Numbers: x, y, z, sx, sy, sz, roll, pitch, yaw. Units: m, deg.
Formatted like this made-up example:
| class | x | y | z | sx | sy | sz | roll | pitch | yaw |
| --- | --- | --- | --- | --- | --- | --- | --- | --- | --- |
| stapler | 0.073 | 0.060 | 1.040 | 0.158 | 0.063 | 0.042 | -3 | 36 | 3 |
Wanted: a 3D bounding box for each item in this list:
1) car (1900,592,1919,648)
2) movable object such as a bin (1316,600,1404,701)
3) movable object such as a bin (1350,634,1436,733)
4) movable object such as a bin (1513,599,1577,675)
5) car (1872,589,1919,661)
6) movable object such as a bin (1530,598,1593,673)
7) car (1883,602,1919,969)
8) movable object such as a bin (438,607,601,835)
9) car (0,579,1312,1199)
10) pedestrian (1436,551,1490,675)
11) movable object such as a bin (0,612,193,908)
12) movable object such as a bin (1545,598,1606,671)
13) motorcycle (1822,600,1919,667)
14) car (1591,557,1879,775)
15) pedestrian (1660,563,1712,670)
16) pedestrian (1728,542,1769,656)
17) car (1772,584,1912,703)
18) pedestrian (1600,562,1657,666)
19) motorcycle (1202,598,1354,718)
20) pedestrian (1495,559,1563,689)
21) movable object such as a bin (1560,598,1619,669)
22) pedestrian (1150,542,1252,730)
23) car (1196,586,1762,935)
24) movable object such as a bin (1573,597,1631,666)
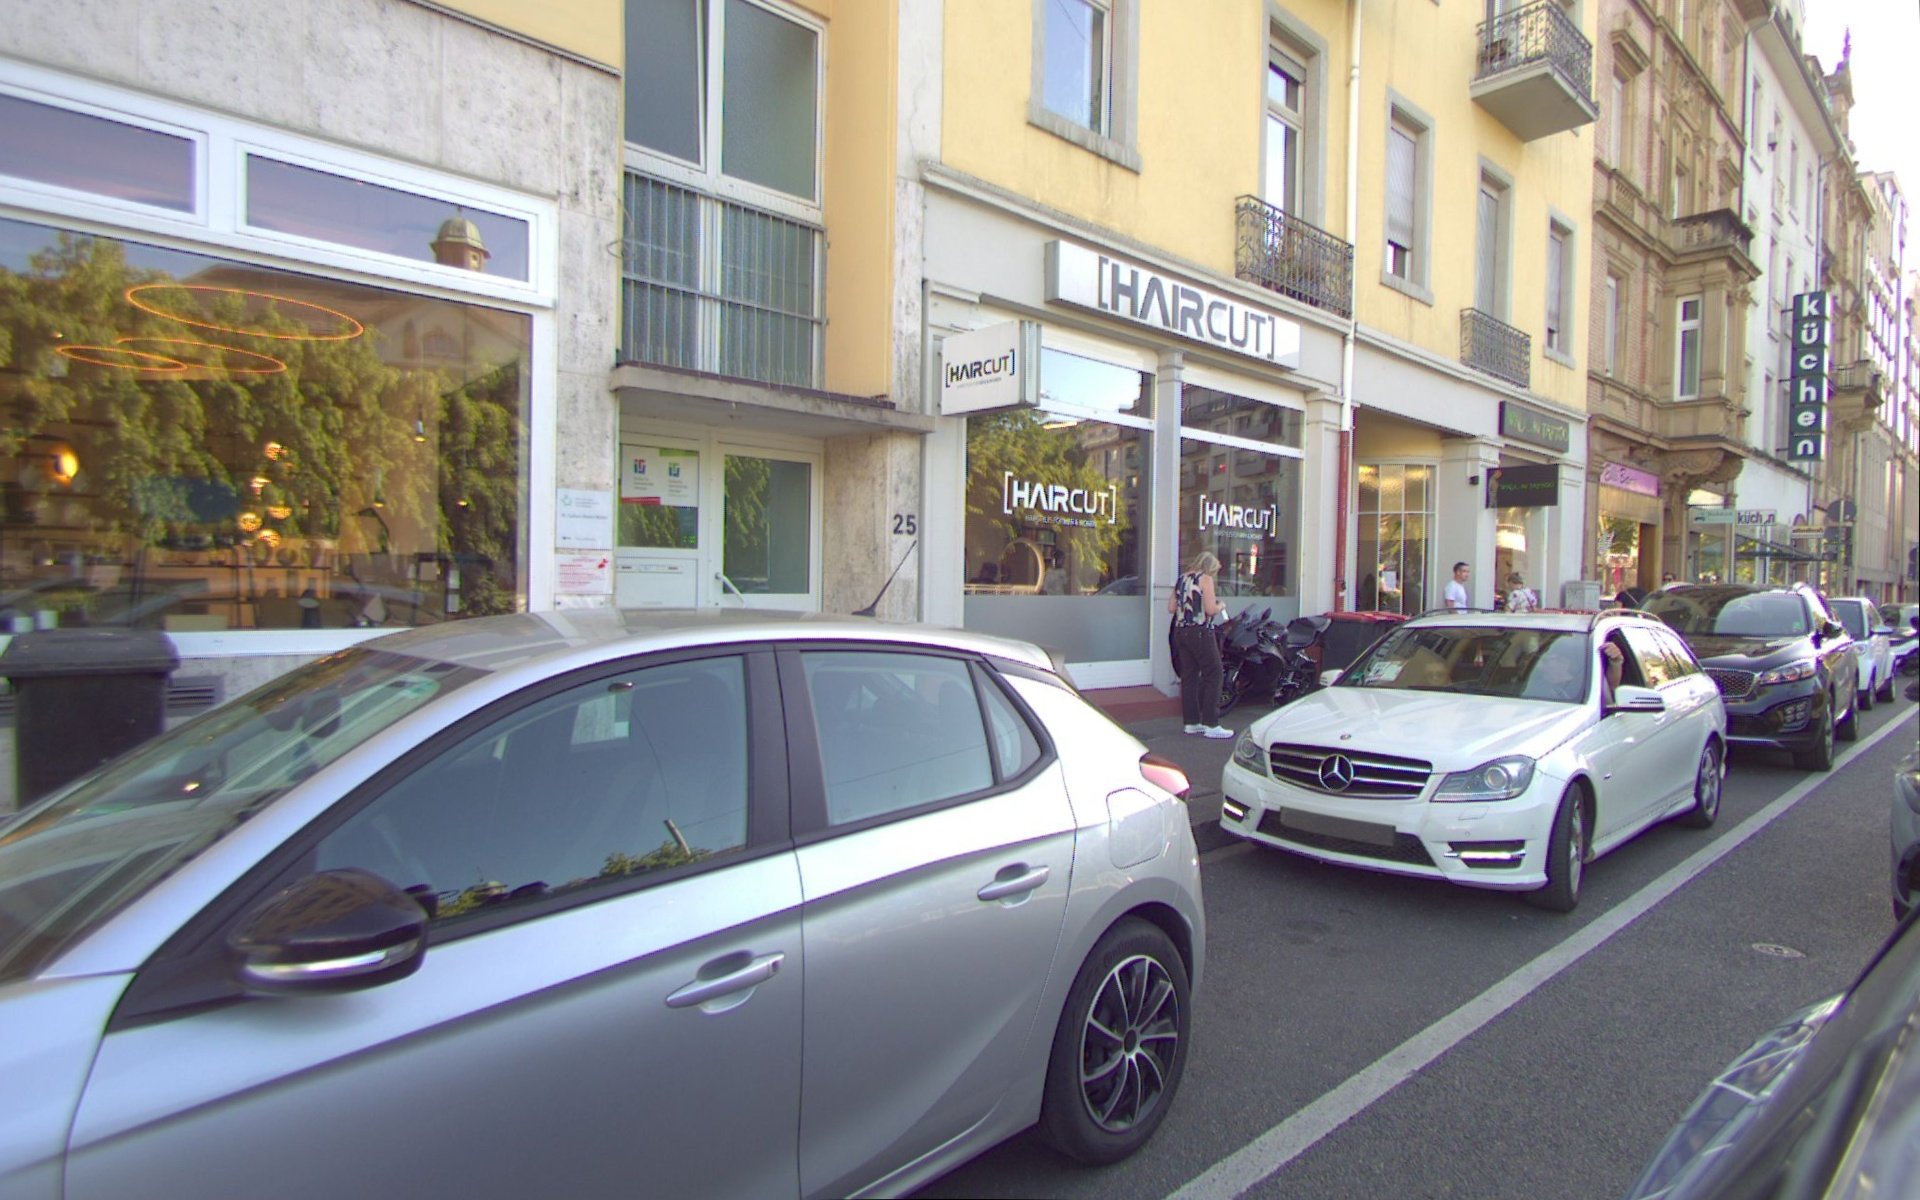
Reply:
| class | x | y | z | sx | sy | sz | roll | pitch | yaw |
| --- | --- | --- | --- | --- | --- | --- | --- | --- | --- |
| car | 26.417 | 0.526 | 26.902 | 3.736 | 1.435 | 1.736 | 0 | 1 | -41 |
| movable object such as a bin | 4.536 | 0.557 | 11.484 | 0.608 | 1.054 | 0.661 | 1 | 3 | -38 |
| movable object such as a bin | 5.062 | 0.960 | 11.842 | 0.608 | 1.037 | 0.669 | 1 | 3 | -38 |
| movable object such as a bin | 8.790 | 0.540 | 15.212 | 0.608 | 1.079 | 0.606 | 0 | 4 | -41 |
| car | 22.032 | 0.534 | 22.934 | 4.096 | 1.537 | 1.734 | 0 | 1 | -44 |
| movable object such as a bin | 9.279 | 0.534 | 15.618 | 0.608 | 1.079 | 0.606 | 0 | 4 | -41 |
| car | 6.004 | 0.757 | 4.879 | 4.297 | 1.467 | 1.846 | 0 | 1 | -41 |
| movable object such as a bin | -2.388 | 0.604 | 5.472 | 0.609 | 1.080 | 0.704 | 0 | 4 | -41 |
| car | -0.914 | 0.683 | 2.422 | 4.009 | 1.445 | 1.672 | 0 | 1 | -43 |
| pedestrian | 6.946 | 0.177 | 13.977 | 0.513 | 1.681 | 0.339 | 1 | 1 | -16 |
| movable object such as a bin | -3.694 | 0.621 | 4.333 | 0.609 | 1.080 | 0.704 | 0 | 4 | -41 |
| movable object such as a bin | 9.737 | 0.528 | 16.012 | 0.608 | 1.079 | 0.606 | 0 | 4 | -41 |
| motorcycle | 18.931 | 0.667 | 20.447 | 2.137 | 1.295 | 0.866 | 1 | 0 | 8 |
| car | 8.110 | 0.507 | 10.412 | 4.498 | 1.758 | 1.756 | 0 | 1 | -45 |
| pedestrian | 11.426 | 0.253 | 15.936 | 0.406 | 1.653 | 0.516 | 0 | 0 | -12 |
| pedestrian | 12.626 | -0.023 | 16.213 | 0.473 | 1.785 | 0.434 | 0 | 0 | -41 |
| car | 12.791 | 0.554 | 14.637 | 2.748 | 1.537 | 1.273 | 0 | 1 | -44 |
| pedestrian | 10.821 | 0.220 | 16.394 | 0.453 | 1.653 | 0.620 | 0 | 0 | -15 |
| motorcycle | 3.317 | 0.552 | 10.455 | 1.975 | 1.105 | 0.551 | 0 | 2 | -42 |
| pedestrian | 7.590 | 0.309 | 13.505 | 0.581 | 1.681 | 0.452 | 2 | 1 | 0 |
| movable object such as a bin | 10.208 | 0.535 | 16.418 | 0.608 | 1.079 | 0.606 | 0 | 4 | -41 |
| pedestrian | 2.214 | 0.304 | 9.318 | 0.523 | 1.653 | 0.697 | 0 | 2 | -42 |
| car | 3.509 | 0.660 | 6.406 | 4.387 | 1.465 | 1.741 | 0 | 1 | -42 |
| movable object such as a bin | 10.692 | 0.507 | 16.852 | 0.608 | 1.079 | 0.606 | 0 | 4 | -41 |
